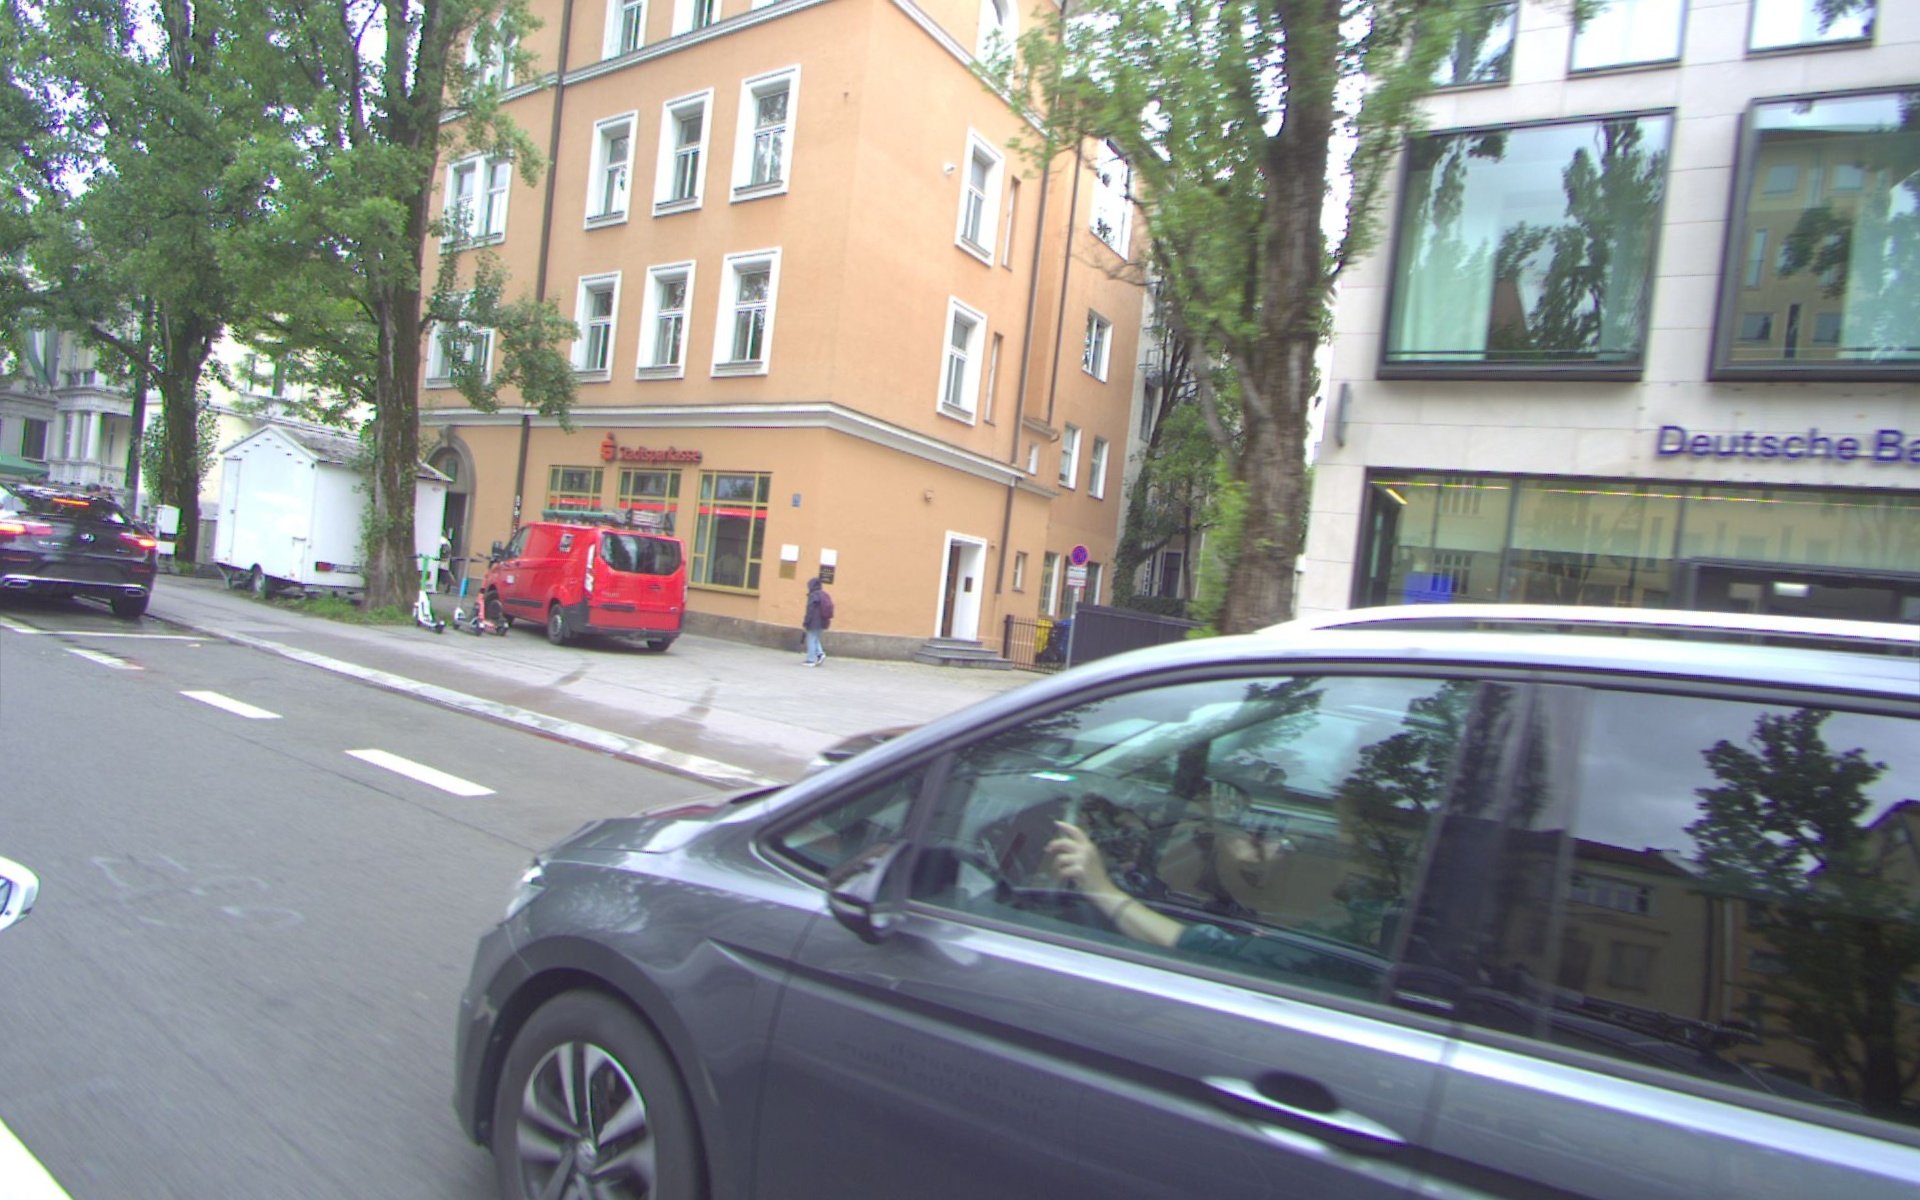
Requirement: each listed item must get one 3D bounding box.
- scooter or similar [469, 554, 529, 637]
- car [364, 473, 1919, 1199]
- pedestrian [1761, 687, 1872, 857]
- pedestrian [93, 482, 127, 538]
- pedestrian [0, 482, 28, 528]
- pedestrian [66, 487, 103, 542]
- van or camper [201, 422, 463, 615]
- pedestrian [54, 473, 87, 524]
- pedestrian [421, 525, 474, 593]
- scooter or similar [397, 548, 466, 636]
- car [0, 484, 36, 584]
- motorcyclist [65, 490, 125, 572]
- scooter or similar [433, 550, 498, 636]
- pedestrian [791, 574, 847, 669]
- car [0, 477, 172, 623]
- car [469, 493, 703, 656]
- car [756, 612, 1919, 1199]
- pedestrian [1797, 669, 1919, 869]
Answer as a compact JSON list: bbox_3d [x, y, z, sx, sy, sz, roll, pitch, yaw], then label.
[{"bbox_3d":[-7.604,-0.080,16.562,0.484,1.249,1.153,3,3,-43],"label":"scooter or similar"},{"bbox_3d":[0.913,0.796,1.956,4.115,1.633,1.763,7,-1,32],"label":"car"},{"bbox_3d":[8.205,1.635,9.644,0.499,1.510,0.542,6,1,-32],"label":"pedestrian"},{"bbox_3d":[-30.676,-3.242,36.320,0.756,1.895,0.700,6,-1,43],"label":"pedestrian"},{"bbox_3d":[-41.783,-4.182,44.323,0.728,1.877,0.761,7,2,31],"label":"pedestrian"},{"bbox_3d":[-28.481,-2.776,32.727,0.663,1.671,0.621,6,1,-30],"label":"pedestrian"},{"bbox_3d":[-12.130,-1.592,19.360,4.640,3.152,2.460,7,1,34],"label":"van or camper"},{"bbox_3d":[-31.136,-3.531,35.211,0.756,1.666,0.647,6,-1,43],"label":"pedestrian"},{"bbox_3d":[-13.239,-1.062,25.983,0.767,1.634,0.820,7,2,36],"label":"pedestrian"},{"bbox_3d":[-8.360,-0.136,15.890,0.523,1.249,1.458,3,3,-43],"label":"scooter or similar"},{"bbox_3d":[-17.446,-1.318,16.999,4.300,1.585,1.624,7,1,33],"label":"car"},{"bbox_3d":[-16.195,-1.293,18.842,0.753,1.425,0.564,7,2,30],"label":"motorcyclist"},{"bbox_3d":[-7.993,-0.124,16.249,0.484,1.249,1.388,3,3,-43],"label":"scooter or similar"},{"bbox_3d":[-2.488,0.373,17.833,0.701,1.571,0.606,6,2,6],"label":"pedestrian"},{"bbox_3d":[-12.921,-0.810,13.929,4.511,1.662,1.881,7,1,35],"label":"car"},{"bbox_3d":[-6.655,-0.522,17.556,1.895,2.358,4.763,5,2,-44],"label":"car"},{"bbox_3d":[1.297,1.032,4.806,4.359,1.412,1.734,7,1,32],"label":"car"},{"bbox_3d":[8.027,1.492,8.976,0.546,1.658,0.553,6,1,-32],"label":"pedestrian"}]
